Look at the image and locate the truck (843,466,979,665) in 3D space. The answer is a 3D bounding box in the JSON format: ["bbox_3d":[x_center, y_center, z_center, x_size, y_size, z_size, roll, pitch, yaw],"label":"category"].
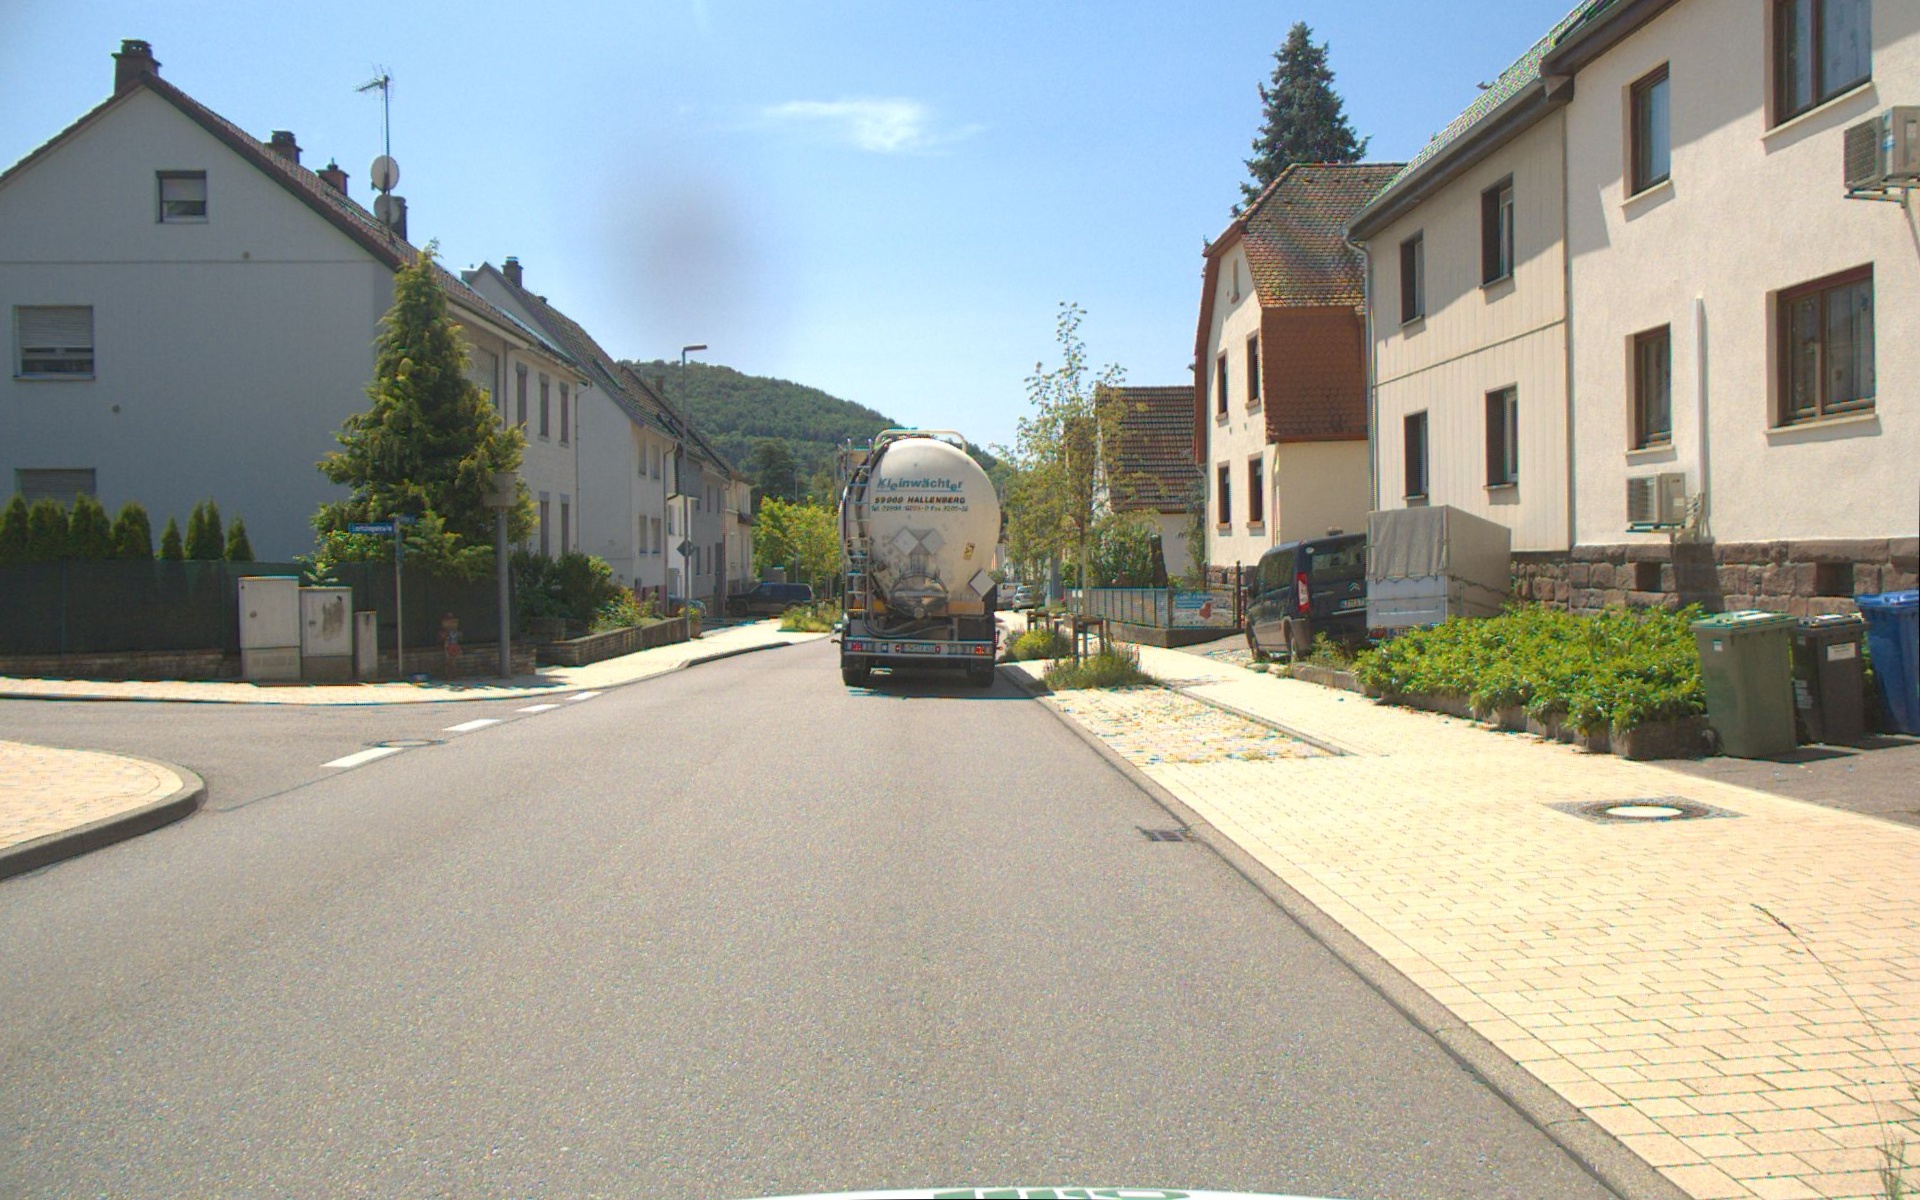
[{"bbox_3d":[-1.032,-0.701,36.416,2.751,4.006,6.098,0,0,-1],"label":"truck"}]

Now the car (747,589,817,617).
[{"bbox_3d":[-9.564,0.151,88.731,3.477,1.464,1.694,0,0,33],"label":"car"}]

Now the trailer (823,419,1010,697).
[{"bbox_3d":[-0.806,-0.637,29.458,2.740,4.071,10.319,0,0,-2],"label":"trailer"}]

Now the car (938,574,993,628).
[{"bbox_3d":[0.173,0.019,60.967,1.953,1.937,3.999,0,0,-1],"label":"car"}]

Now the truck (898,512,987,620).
[{"bbox_3d":[-1.002,-1.638,83.075,3.833,4.981,9.788,-2,0,-4],"label":"truck"}]

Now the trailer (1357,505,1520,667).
[{"bbox_3d":[6.431,-0.177,22.169,1.300,2.049,2.261,0,0,40],"label":"trailer"}]

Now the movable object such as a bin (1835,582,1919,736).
[{"bbox_3d":[7.439,0.444,12.964,0.671,1.125,0.863,-4,0,5],"label":"movable object such as a bin"}]

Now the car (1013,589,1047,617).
[{"bbox_3d":[4.032,0.162,95.499,1.754,1.568,4.519,0,0,0],"label":"car"}]

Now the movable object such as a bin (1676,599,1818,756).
[{"bbox_3d":[6.101,0.584,12.857,0.670,1.134,0.812,-4,-1,4],"label":"movable object such as a bin"}]

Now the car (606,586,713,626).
[{"bbox_3d":[-11.932,0.220,65.854,3.906,1.572,1.832,0,0,-1],"label":"car"}]

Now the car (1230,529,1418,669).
[{"bbox_3d":[5.817,-0.014,27.042,1.815,2.005,4.771,-3,0,-2],"label":"car"}]

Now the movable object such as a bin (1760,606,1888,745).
[{"bbox_3d":[6.776,0.578,13.006,0.546,1.003,0.803,-5,0,5],"label":"movable object such as a bin"}]

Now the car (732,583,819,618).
[{"bbox_3d":[-9.420,0.006,84.626,4.306,1.781,1.877,0,0,-3],"label":"car"}]
